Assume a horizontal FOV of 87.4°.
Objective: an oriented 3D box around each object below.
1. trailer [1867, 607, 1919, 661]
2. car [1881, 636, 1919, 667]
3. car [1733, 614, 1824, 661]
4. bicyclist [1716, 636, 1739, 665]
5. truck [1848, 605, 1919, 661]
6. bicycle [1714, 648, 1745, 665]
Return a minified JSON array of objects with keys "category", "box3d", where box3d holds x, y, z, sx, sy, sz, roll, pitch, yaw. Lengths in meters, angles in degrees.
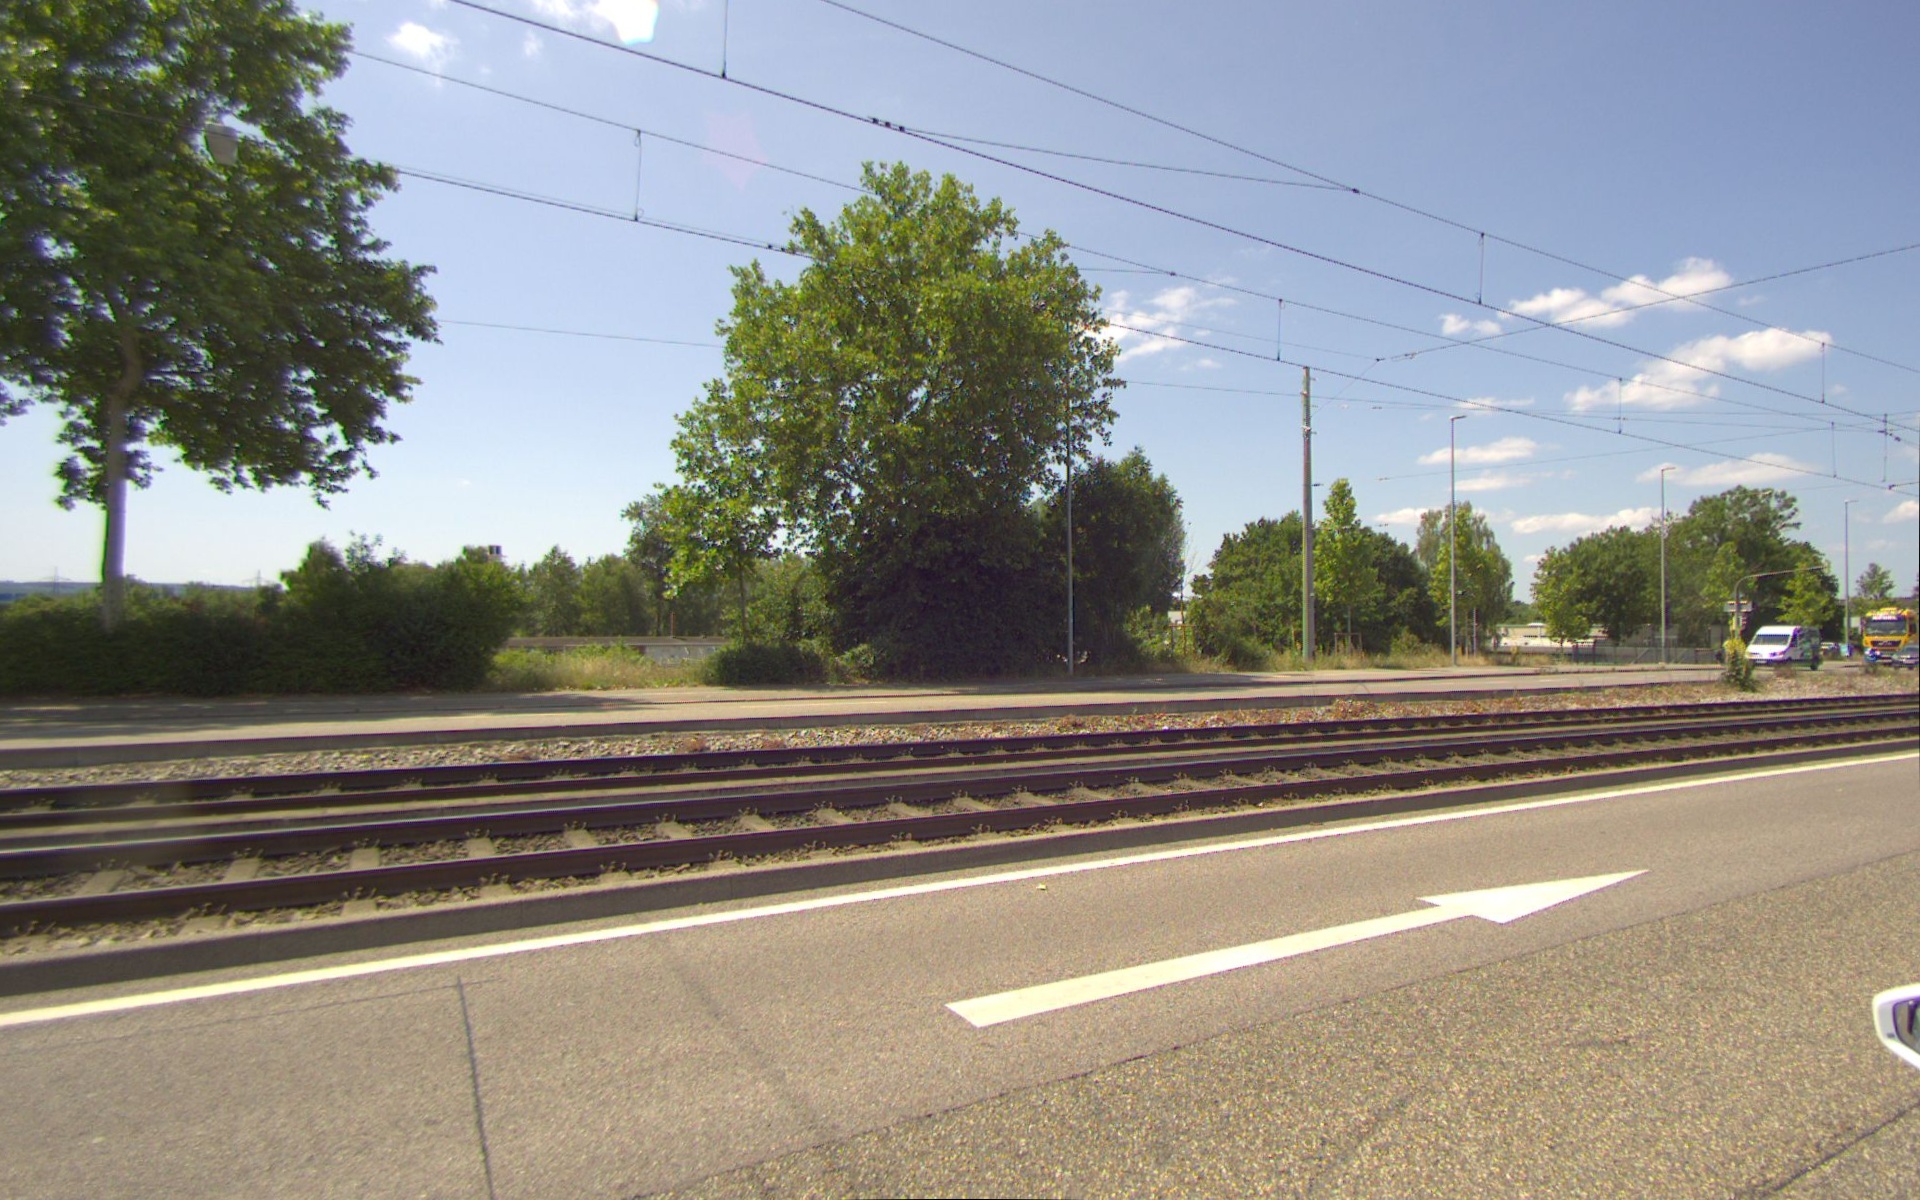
[{"category":"trailer","box3d":[70.489,2.486,72.571,15.693,3.565,2.754,2,-1,-31]},{"category":"car","box3d":[57.090,3.066,59.967,4.408,1.692,1.813,1,0,-30]},{"category":"car","box3d":[48.185,2.217,59.083,6.166,2.622,2.231,1,-3,-32]},{"category":"bicyclist","box3d":[49.828,3.262,65.181,0.337,1.798,1.112,1,0,-34]},{"category":"truck","box3d":[63.712,2.257,68.553,6.365,3.616,2.754,2,-1,-30]},{"category":"bicycle","box3d":[49.880,3.662,65.105,0.481,1.000,1.482,1,0,-33]}]
